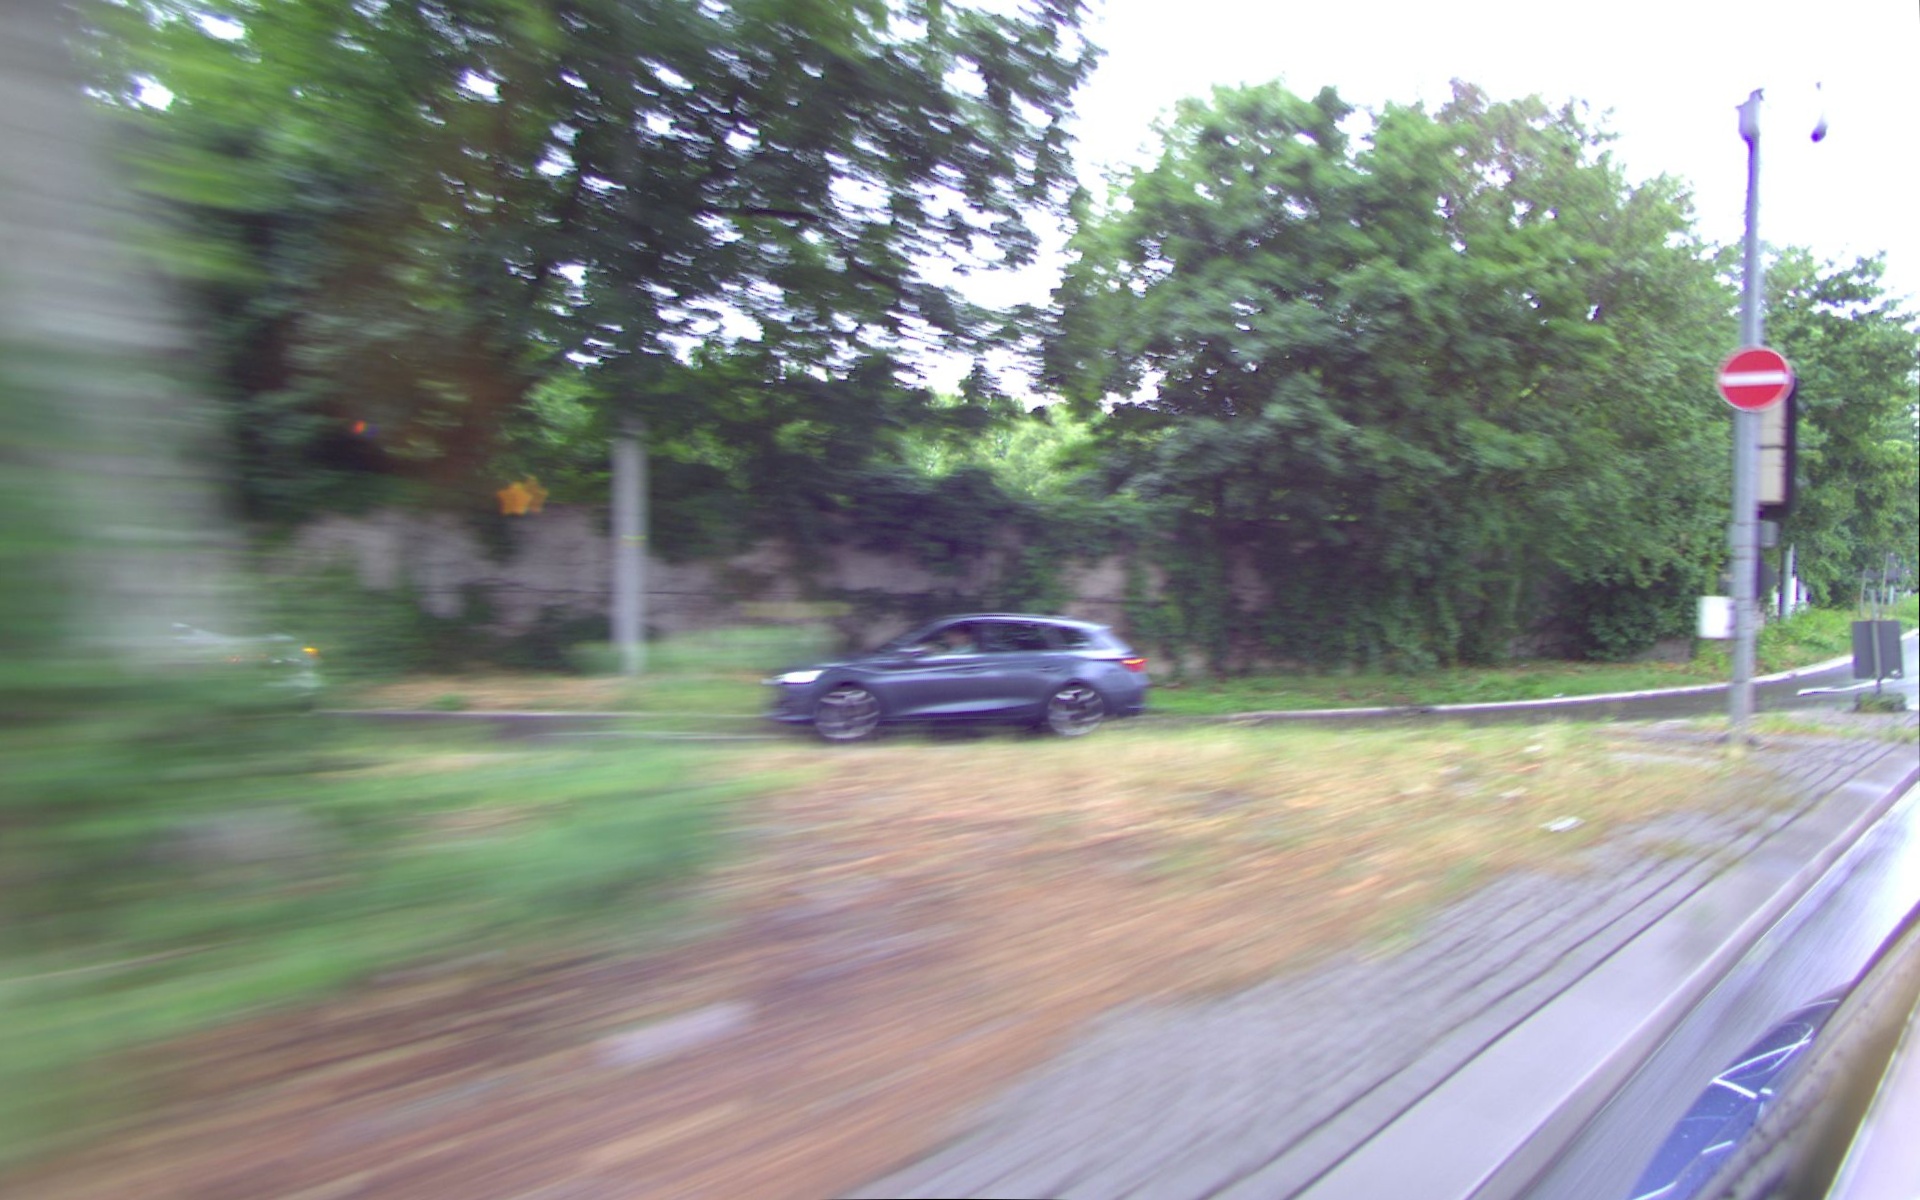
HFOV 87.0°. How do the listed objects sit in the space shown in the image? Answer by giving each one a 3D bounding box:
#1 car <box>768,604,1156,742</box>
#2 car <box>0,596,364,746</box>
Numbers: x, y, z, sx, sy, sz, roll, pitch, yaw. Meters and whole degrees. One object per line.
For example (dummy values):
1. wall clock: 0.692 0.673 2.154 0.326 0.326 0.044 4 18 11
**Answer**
1. car: -0.064 0.809 12.045 4.322 1.421 1.756 -1 -2 -12
2. car: -9.409 0.717 11.168 4.527 1.467 1.860 0 1 -4
